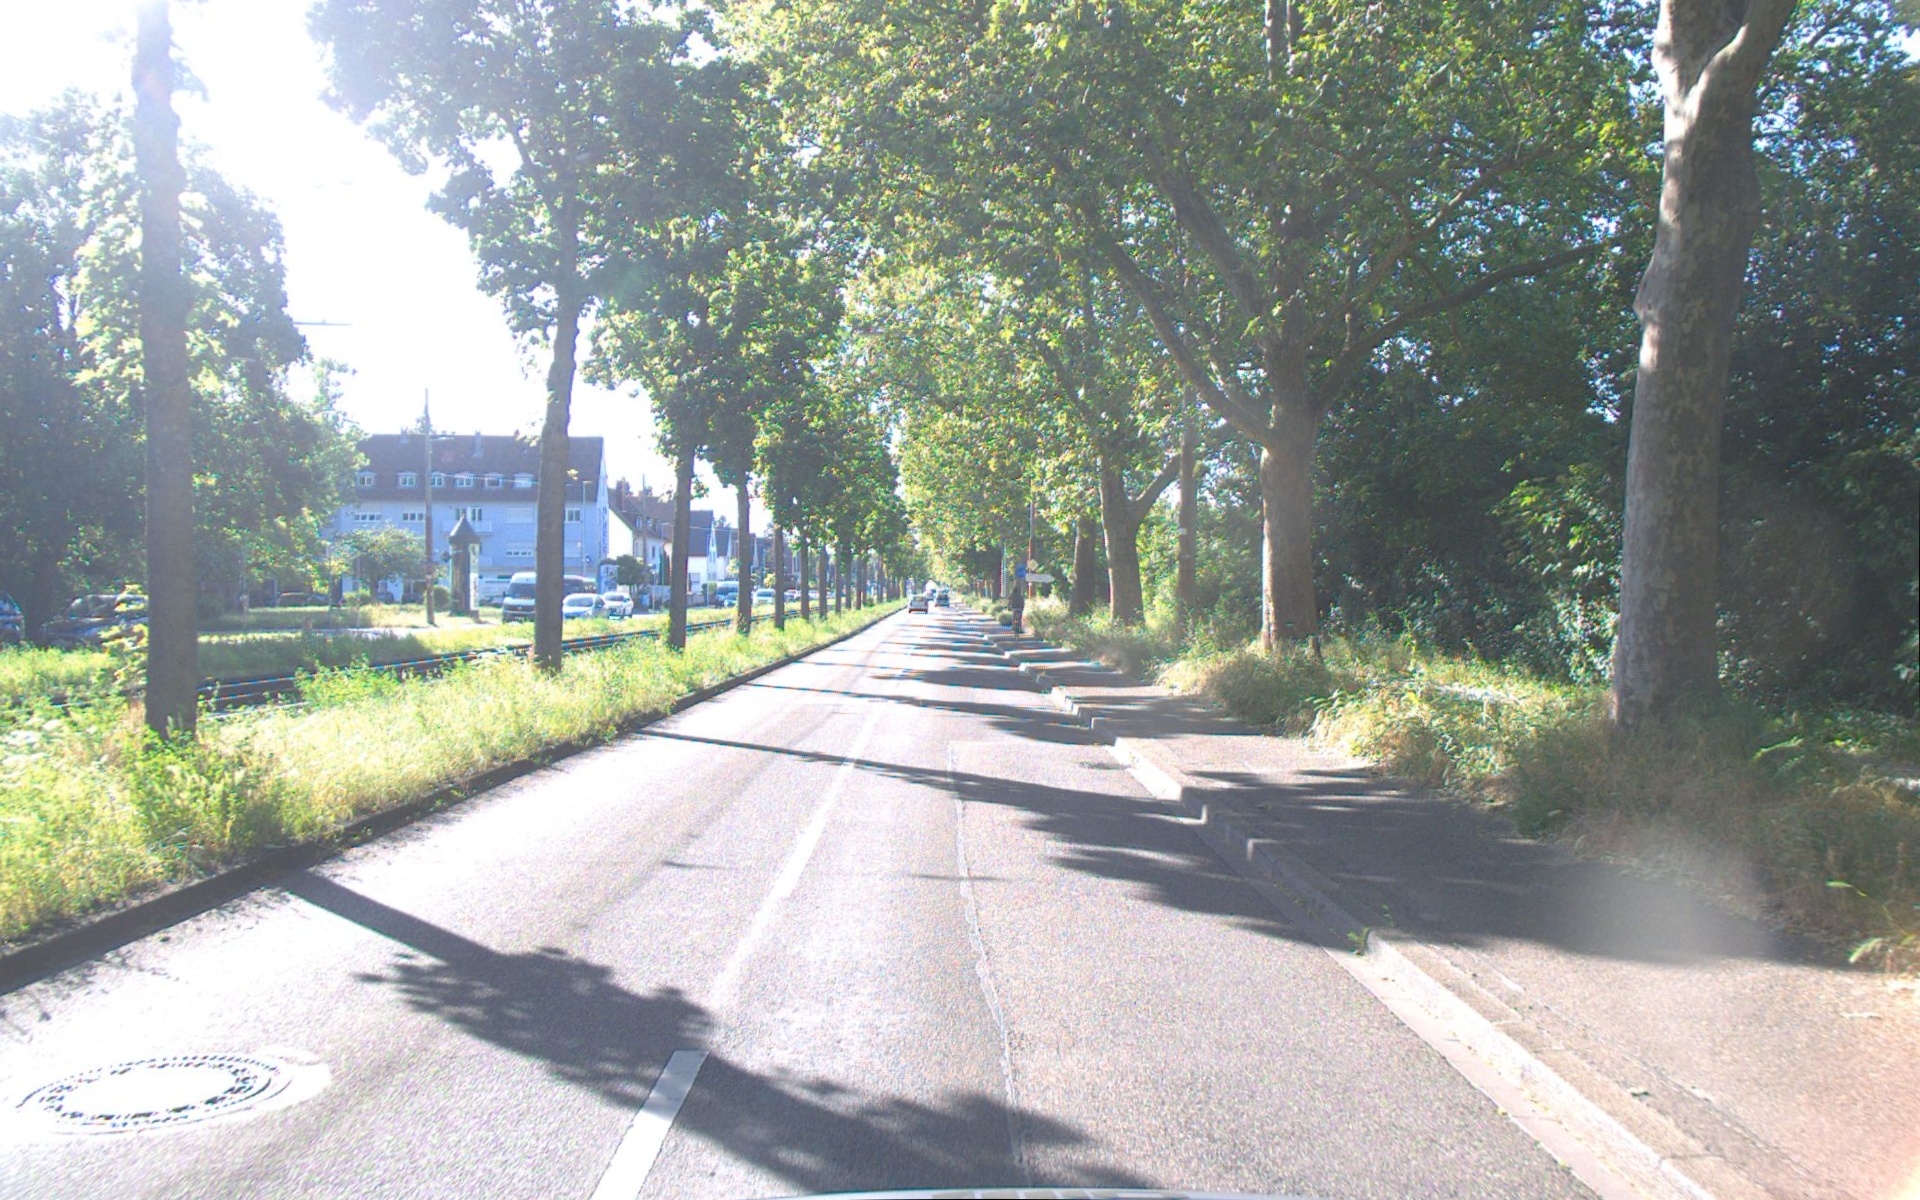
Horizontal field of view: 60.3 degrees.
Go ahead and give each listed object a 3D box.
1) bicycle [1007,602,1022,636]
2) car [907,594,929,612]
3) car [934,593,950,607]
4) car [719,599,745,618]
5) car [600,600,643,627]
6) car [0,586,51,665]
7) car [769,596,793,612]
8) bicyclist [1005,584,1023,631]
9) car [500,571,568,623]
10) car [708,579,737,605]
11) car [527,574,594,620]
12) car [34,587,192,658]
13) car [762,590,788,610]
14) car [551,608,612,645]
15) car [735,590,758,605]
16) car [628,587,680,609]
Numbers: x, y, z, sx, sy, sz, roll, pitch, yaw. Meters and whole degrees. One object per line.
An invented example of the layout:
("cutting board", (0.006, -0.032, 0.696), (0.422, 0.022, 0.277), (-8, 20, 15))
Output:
("bicycle", (1.929, 0.659, 58.847), (0.431, 1.173, 1.823), (-1, 0, -1))
("car", (-3.345, 0.238, 132.956), (1.703, 1.425, 3.276), (1, 0, -1))
("car", (-2.030, 0.028, 187.207), (1.725, 1.539, 3.276), (1, 0, 0))
("car", (-17.635, 0.673, 128.087), (1.525, 1.419, 3.819), (1, 0, -1))
("car", (-21.560, 0.856, 105.456), (1.786, 1.635, 4.773), (1, 0, -1))
("car", (-20.825, 0.522, 34.178), (1.589, 1.651, 4.532), (1, 0, -1))
("car", (-17.956, 0.360, 165.579), (1.952, 1.558, 3.751), (-1, 0, 0))
("bicyclist", (1.920, 0.252, 58.888), (0.601, 1.657, 0.909), (-1, 0, -1))
("car", (-21.682, -0.141, 84.335), (1.961, 2.540, 6.135), (1, 0, -1))
("car", (-23.482, -0.766, 163.637), (1.953, 2.502, 6.673), (1, 0, -1))
("car", (-22.168, -0.158, 92.066), (2.138, 2.418, 6.463), (1, 0, -1))
("car", (-20.874, 0.536, 40.974), (1.640, 1.612, 4.248), (1, 0, 1))
("car", (-16.820, 0.003, 150.702), (1.774, 1.775, 4.981), (1, 0, -1))
("car", (-16.798, 1.134, 73.552), (1.691, 1.555, 4.442), (1, 0, 0))
("car", (-23.550, -0.309, 182.900), (1.953, 1.609, 4.498), (1, 1, 0))
("car", (-27.737, -0.171, 150.027), (4.535, 1.979, 1.994), (1, 0, -12))
